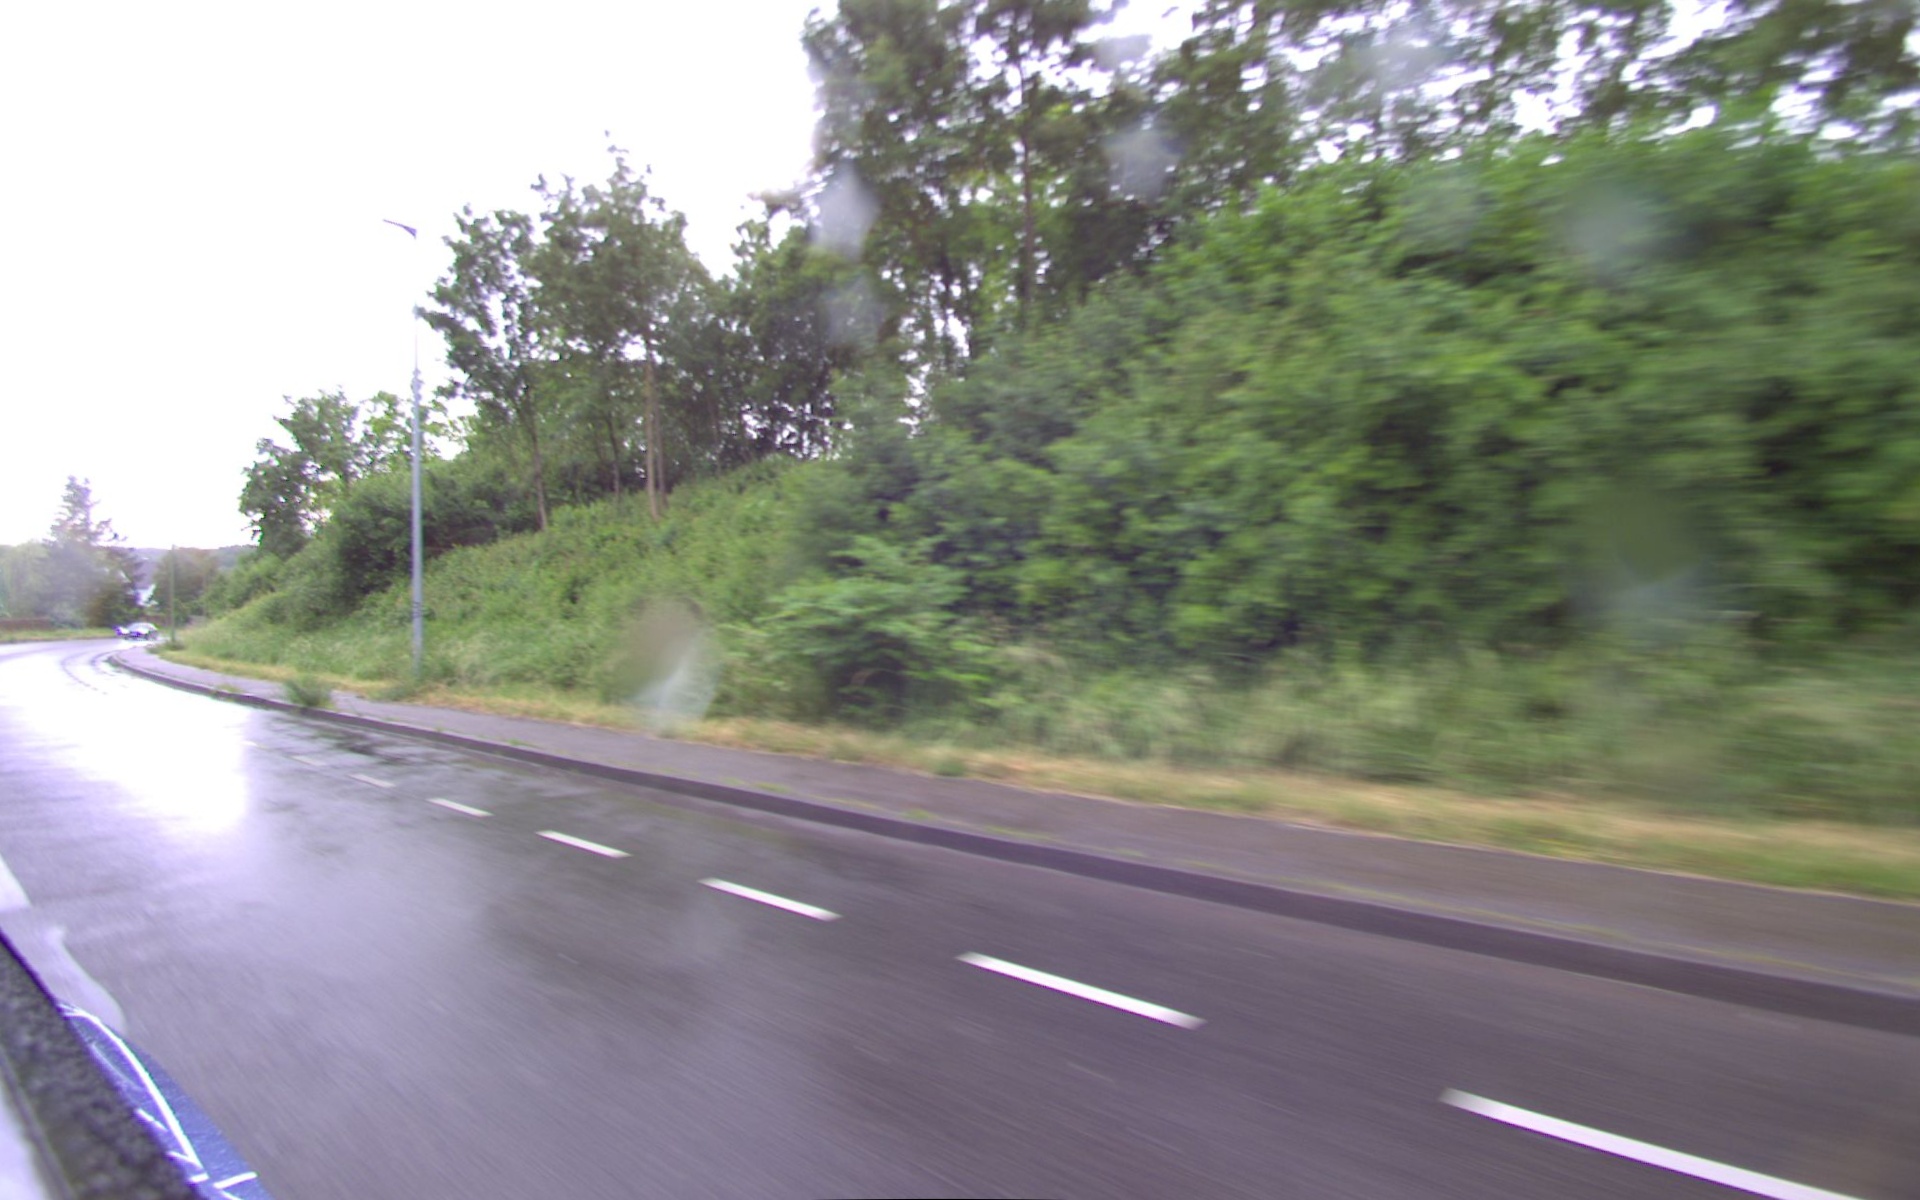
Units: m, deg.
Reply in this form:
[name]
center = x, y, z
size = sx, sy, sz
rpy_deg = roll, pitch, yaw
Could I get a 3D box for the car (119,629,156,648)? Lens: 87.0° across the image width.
[car]
center = -74.221, 3.448, 91.386
size = 1.848, 1.618, 4.012
rpy_deg = 3, -3, -29
